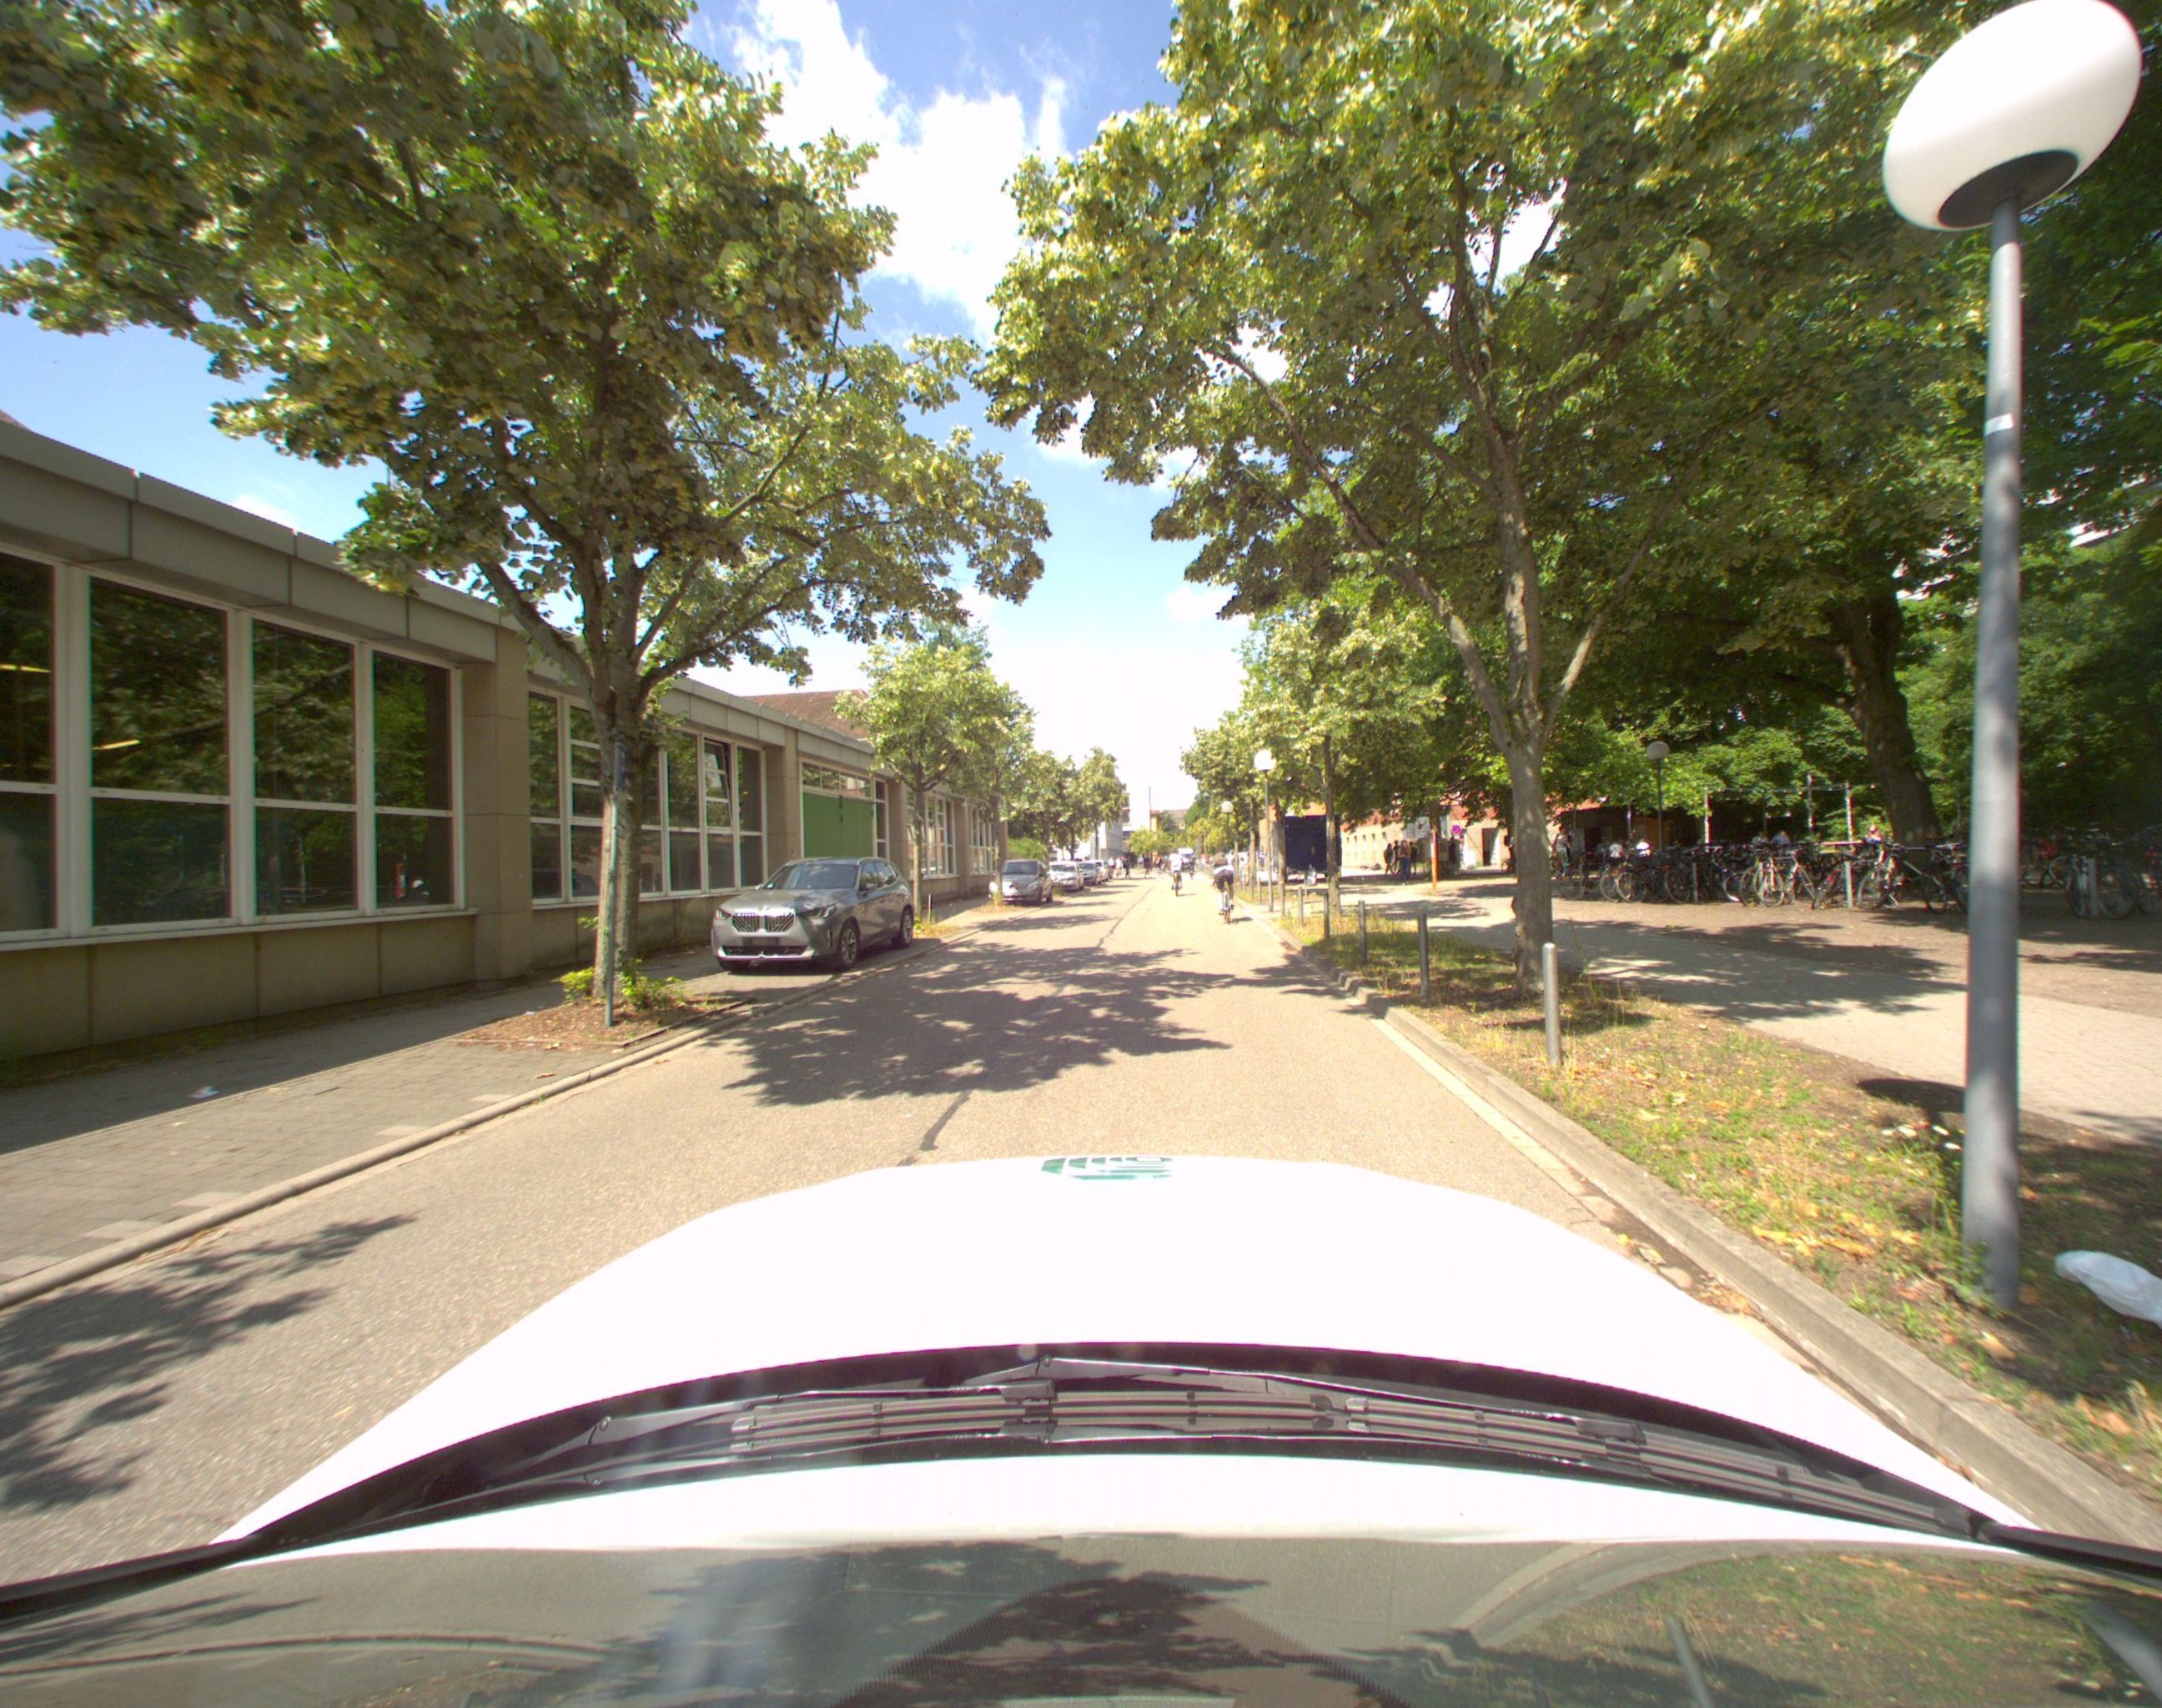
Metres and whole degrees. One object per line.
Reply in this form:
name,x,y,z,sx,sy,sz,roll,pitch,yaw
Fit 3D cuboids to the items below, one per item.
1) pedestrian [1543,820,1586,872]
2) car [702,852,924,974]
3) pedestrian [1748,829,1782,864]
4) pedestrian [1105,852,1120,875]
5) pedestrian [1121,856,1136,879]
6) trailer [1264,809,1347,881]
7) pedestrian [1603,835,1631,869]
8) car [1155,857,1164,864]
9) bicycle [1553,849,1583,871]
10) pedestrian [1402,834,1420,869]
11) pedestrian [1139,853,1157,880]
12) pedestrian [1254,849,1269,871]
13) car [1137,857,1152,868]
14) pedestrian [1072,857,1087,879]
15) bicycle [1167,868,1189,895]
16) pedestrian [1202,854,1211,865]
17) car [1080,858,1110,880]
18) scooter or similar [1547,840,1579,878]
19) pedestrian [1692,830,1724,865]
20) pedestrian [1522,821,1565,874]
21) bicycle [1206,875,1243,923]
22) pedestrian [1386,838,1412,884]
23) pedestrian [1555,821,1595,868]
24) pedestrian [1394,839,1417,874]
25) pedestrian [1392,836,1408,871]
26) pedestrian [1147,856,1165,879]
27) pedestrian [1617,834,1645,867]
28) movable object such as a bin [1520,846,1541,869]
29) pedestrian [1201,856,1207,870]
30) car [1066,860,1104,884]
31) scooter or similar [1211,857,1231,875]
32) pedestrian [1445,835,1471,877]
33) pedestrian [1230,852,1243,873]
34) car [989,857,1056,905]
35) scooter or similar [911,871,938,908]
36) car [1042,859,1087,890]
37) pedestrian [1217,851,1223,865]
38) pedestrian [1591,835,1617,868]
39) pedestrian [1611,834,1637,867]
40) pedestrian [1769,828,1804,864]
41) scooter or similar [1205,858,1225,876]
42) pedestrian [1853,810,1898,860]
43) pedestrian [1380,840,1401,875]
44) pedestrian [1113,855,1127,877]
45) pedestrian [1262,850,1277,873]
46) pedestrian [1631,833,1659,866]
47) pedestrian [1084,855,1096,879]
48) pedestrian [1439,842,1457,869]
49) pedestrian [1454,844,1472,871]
pedestrian,18.785,-0.300,31.681,0.833,1.949,1.074,-4,0,-14
car,-4.066,0.815,13.269,1.813,1.632,4.522,0,-1,4
pedestrian,25.892,-0.282,30.849,0.664,1.271,0.622,-5,0,2
pedestrian,2.522,0.756,64.502,0.971,1.739,0.705,-2,-2,44
pedestrian,3.626,1.011,62.568,0.983,1.720,0.706,-2,-5,14
trailer,10.698,-0.370,39.389,2.678,3.052,6.267,-3,-1,6
pedestrian,22.373,-0.095,33.997,0.567,1.346,0.730,-5,0,2
car,18.496,1.552,192.003,1.784,1.530,4.012,-2,0,11
bicycle,25.989,0.305,43.506,0.570,1.140,2.030,-2,0,7
pedestrian,17.563,-0.124,43.358,0.592,1.796,0.728,-4,1,3
pedestrian,5.034,0.919,61.416,0.858,1.859,1.105,-4,6,-35
pedestrian,15.293,0.495,68.921,0.712,1.787,0.746,-9,4,-27
car,9.774,1.283,125.835,1.784,1.530,4.012,-2,0,11
pedestrian,-0.118,1.165,67.366,0.793,1.772,0.860,3,2,32
bicycle,3.928,1.091,32.908,0.804,1.002,2.128,-2,-1,8
pedestrian,23.680,1.083,153.773,1.492,1.996,1.649,-5,0,5
car,0.986,1.007,54.637,1.653,1.412,3.814,-1,0,6
scooter or similar,16.249,0.175,27.474,0.422,1.219,1.297,-2,-1,7
pedestrian,25.087,-0.270,32.590,0.664,1.346,0.720,-5,0,2
pedestrian,17.857,-0.242,31.444,0.833,1.949,1.074,-4,0,-14
bicycle,3.253,0.996,18.547,0.703,0.993,1.914,-3,-1,7
pedestrian,11.270,0.253,28.858,0.565,1.571,0.929,-3,-2,7
pedestrian,19.634,-0.376,32.368,0.955,1.775,0.919,-2,0,-1
pedestrian,15.514,0.125,38.927,0.761,1.661,0.825,-3,-1,7
pedestrian,16.863,-0.045,43.009,0.592,1.796,0.407,-4,1,3
pedestrian,5.432,1.009,58.977,0.854,1.595,0.821,-3,0,-36
pedestrian,22.938,-0.140,33.983,0.567,1.346,0.730,-5,0,2
movable object such as a bin,21.420,0.158,38.807,0.596,1.071,0.744,-2,-3,7
pedestrian,16.759,1.206,111.007,0.785,1.860,1.028,-2,-1,8
car,0.272,1.047,48.421,1.715,1.344,4.175,0,0,8
scooter or similar,10.614,0.907,61.770,1.248,1.265,0.644,-3,-1,39
pedestrian,16.862,0.091,36.477,0.761,1.855,0.825,-3,-1,7
pedestrian,12.935,0.695,67.596,0.951,1.694,0.708,2,2,16
car,-1.992,0.904,28.900,1.749,1.556,4.119,0,-1,5
scooter or similar,-5.217,1.174,27.196,0.502,1.169,1.218,-1,-1,7
car,-0.762,0.958,39.874,1.717,1.456,4.589,0,-1,5
pedestrian,18.635,0.590,109.220,0.785,1.860,1.028,-3,-1,8
pedestrian,22.352,-0.100,34.796,0.567,1.346,0.730,-5,0,2
pedestrian,23.172,-0.161,34.763,0.567,1.346,0.730,-5,0,2
pedestrian,25.965,-0.287,29.981,0.664,1.271,0.622,-5,0,2
scooter or similar,9.924,0.980,60.232,1.248,1.265,0.655,-3,-1,39
pedestrian,26.291,-0.630,26.958,0.664,1.581,0.719,-5,0,2
pedestrian,14.810,0.165,39.019,0.693,1.661,0.790,-3,-1,7
pedestrian,3.092,0.929,65.003,0.897,1.739,0.682,-1,-1,44
pedestrian,13.939,0.538,60.314,0.871,1.638,0.951,-6,0,7
pedestrian,23.506,-0.190,33.964,0.567,1.346,0.730,-5,0,2
pedestrian,0.723,1.087,67.932,0.619,1.980,0.822,-2,-2,-25
pedestrian,22.296,0.073,49.502,0.656,1.607,0.679,-2,-1,-9
pedestrian,23.229,0.221,49.508,0.656,1.607,0.679,-2,-1,-9
